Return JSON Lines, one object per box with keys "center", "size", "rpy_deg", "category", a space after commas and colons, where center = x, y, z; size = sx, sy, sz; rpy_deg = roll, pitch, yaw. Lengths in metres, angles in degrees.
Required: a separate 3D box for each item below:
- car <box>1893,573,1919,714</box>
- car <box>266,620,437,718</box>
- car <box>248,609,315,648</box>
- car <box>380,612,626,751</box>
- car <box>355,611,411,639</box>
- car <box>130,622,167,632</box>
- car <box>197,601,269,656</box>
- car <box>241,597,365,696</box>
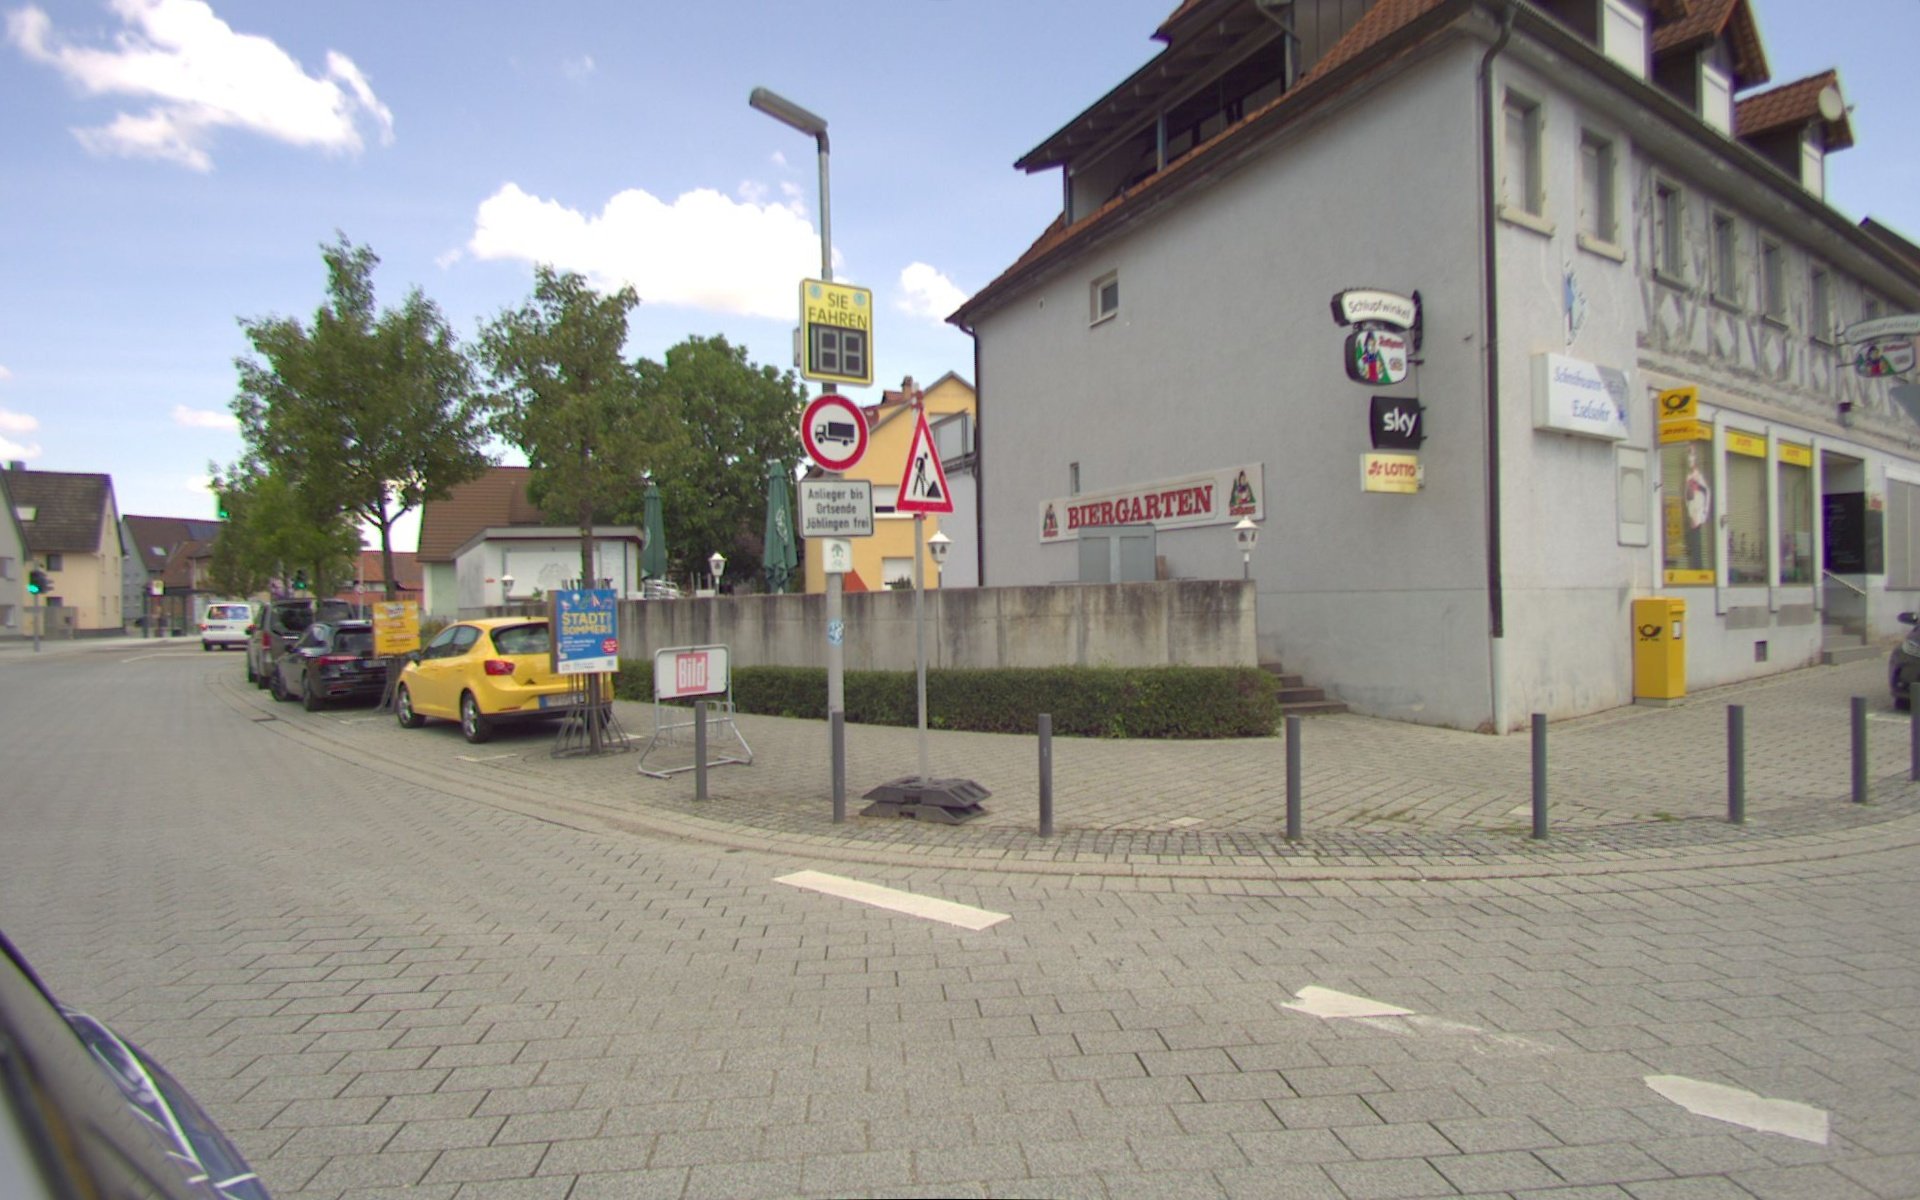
{"center": [12.400, 0.446, 11.587], "size": [3.889, 1.529, 1.778], "rpy_deg": [-1, 0, -36], "category": "car"}
{"center": [-10.620, 1.094, 17.508], "size": [1.793, 1.434, 4.544], "rpy_deg": [0, -1, -41], "category": "car"}
{"center": [-35.194, 1.439, 52.615], "size": [1.965, 1.894, 4.882], "rpy_deg": [-1, -1, -23], "category": "car"}
{"center": [-5.965, 0.924, 12.985], "size": [1.648, 1.486, 3.966], "rpy_deg": [0, -1, -44], "category": "car"}
{"center": [-33.336, 1.422, 58.615], "size": [1.709, 1.502, 4.513], "rpy_deg": [0, 0, -15], "category": "car"}
{"center": [-84.389, 2.811, 105.275], "size": [3.986, 1.068, 1.784], "rpy_deg": [-1, -1, 31], "category": "car"}
{"center": [-30.953, 1.162, 43.226], "size": [1.861, 2.202, 5.046], "rpy_deg": [0, -1, -28], "category": "car"}
{"center": [-15.131, 0.985, 23.175], "size": [1.961, 2.005, 5.054], "rpy_deg": [0, -1, -38], "category": "car"}
